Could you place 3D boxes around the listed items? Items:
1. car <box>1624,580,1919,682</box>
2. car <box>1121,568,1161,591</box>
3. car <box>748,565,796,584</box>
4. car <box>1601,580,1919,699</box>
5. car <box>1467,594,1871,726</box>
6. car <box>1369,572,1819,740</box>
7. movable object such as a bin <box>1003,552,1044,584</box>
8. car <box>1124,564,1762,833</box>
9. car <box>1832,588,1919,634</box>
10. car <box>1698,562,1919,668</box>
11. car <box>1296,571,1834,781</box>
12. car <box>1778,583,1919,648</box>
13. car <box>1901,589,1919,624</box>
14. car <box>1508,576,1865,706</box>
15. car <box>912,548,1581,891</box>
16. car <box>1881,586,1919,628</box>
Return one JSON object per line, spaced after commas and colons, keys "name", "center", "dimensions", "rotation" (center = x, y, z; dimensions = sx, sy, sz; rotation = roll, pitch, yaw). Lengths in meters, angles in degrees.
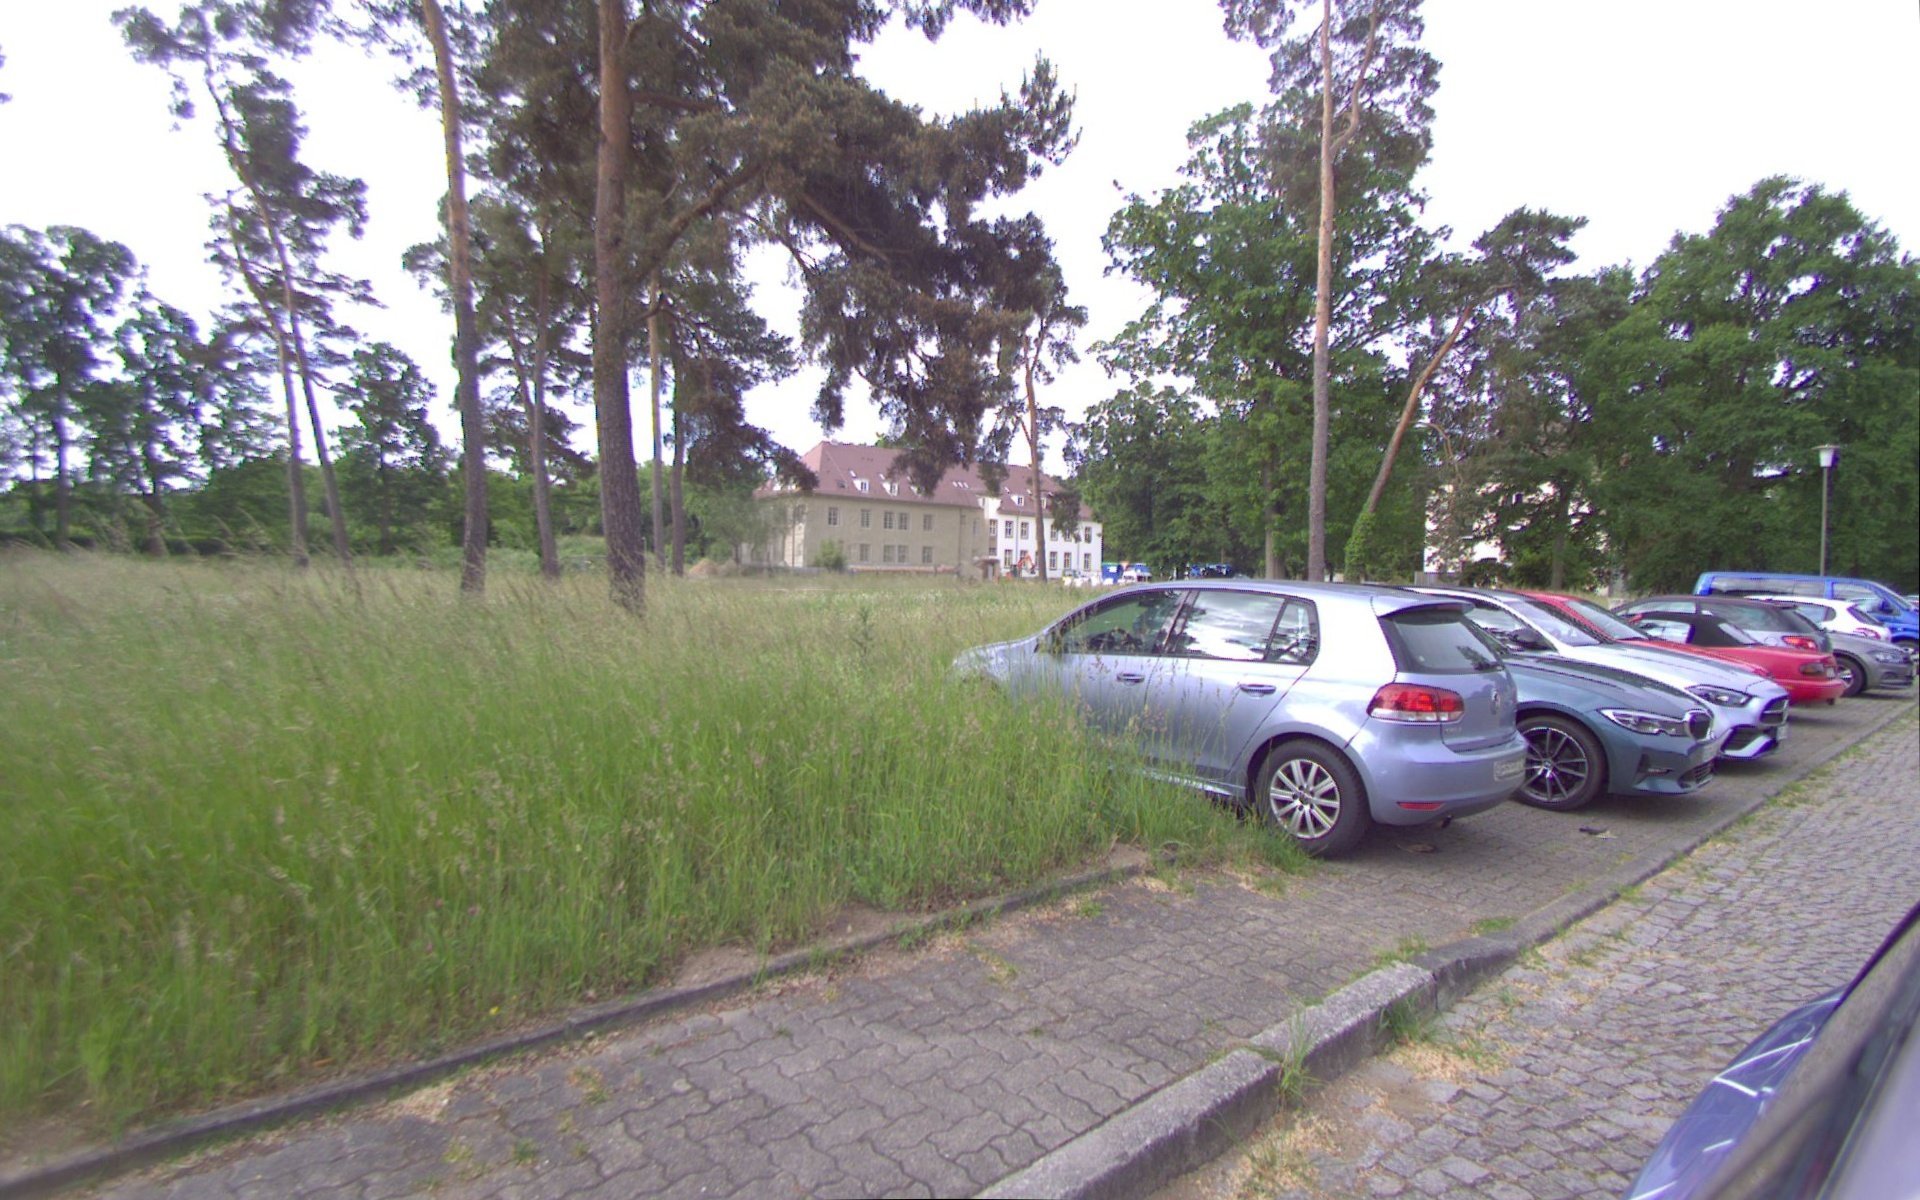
{"name": "car", "center": [15.064, 0.495, 18.973], "dimensions": [1.571, 1.535, 4.052], "rotation": [1, 3, -38]}
{"name": "car", "center": [19.281, -2.151, 107.628], "dimensions": [4.370, 2.394, 1.861], "rotation": [-1, 1, -41]}
{"name": "car", "center": [-20.151, -2.748, 108.373], "dimensions": [2.160, 1.985, 5.780], "rotation": [-1, 2, -45]}
{"name": "car", "center": [13.228, 0.542, 16.700], "dimensions": [1.669, 1.535, 4.100], "rotation": [1, 3, -38]}
{"name": "car", "center": [9.070, 0.660, 13.258], "dimensions": [1.522, 1.255, 4.050], "rotation": [0, 3, -40]}
{"name": "car", "center": [7.296, 0.506, 12.029], "dimensions": [1.687, 1.500, 4.183], "rotation": [0, 3, -40]}
{"name": "movable object such as a bin", "center": [7.781, -3.951, 124.475], "dimensions": [2.015, 3.817, 5.462], "rotation": [0, 1, -37]}
{"name": "car", "center": [3.650, 0.549, 8.397], "dimensions": [1.635, 1.400, 4.437], "rotation": [0, 5, -42]}
{"name": "car", "center": [33.122, 0.420, 35.095], "dimensions": [1.695, 1.462, 4.085], "rotation": [1, 3, -39]}
{"name": "car", "center": [19.285, 0.268, 22.226], "dimensions": [1.877, 2.030, 4.603], "rotation": [0, 3, -39]}
{"name": "car", "center": [5.736, 0.553, 10.107], "dimensions": [1.686, 1.491, 4.249], "rotation": [1, 3, -38]}
{"name": "car", "center": [25.652, 0.424, 28.235], "dimensions": [1.624, 1.612, 4.086], "rotation": [1, 3, -38]}
{"name": "car", "center": [44.469, 0.387, 44.559], "dimensions": [1.693, 1.552, 4.100], "rotation": [1, 3, -33]}
{"name": "car", "center": [10.780, 0.503, 15.294], "dimensions": [1.571, 1.535, 4.052], "rotation": [1, 3, -38]}
{"name": "car", "center": [1.611, 0.488, 6.809], "dimensions": [1.669, 1.446, 4.009], "rotation": [0, 5, -42]}
{"name": "car", "center": [40.892, 0.372, 41.655], "dimensions": [1.693, 1.715, 4.090], "rotation": [1, 3, -33]}
